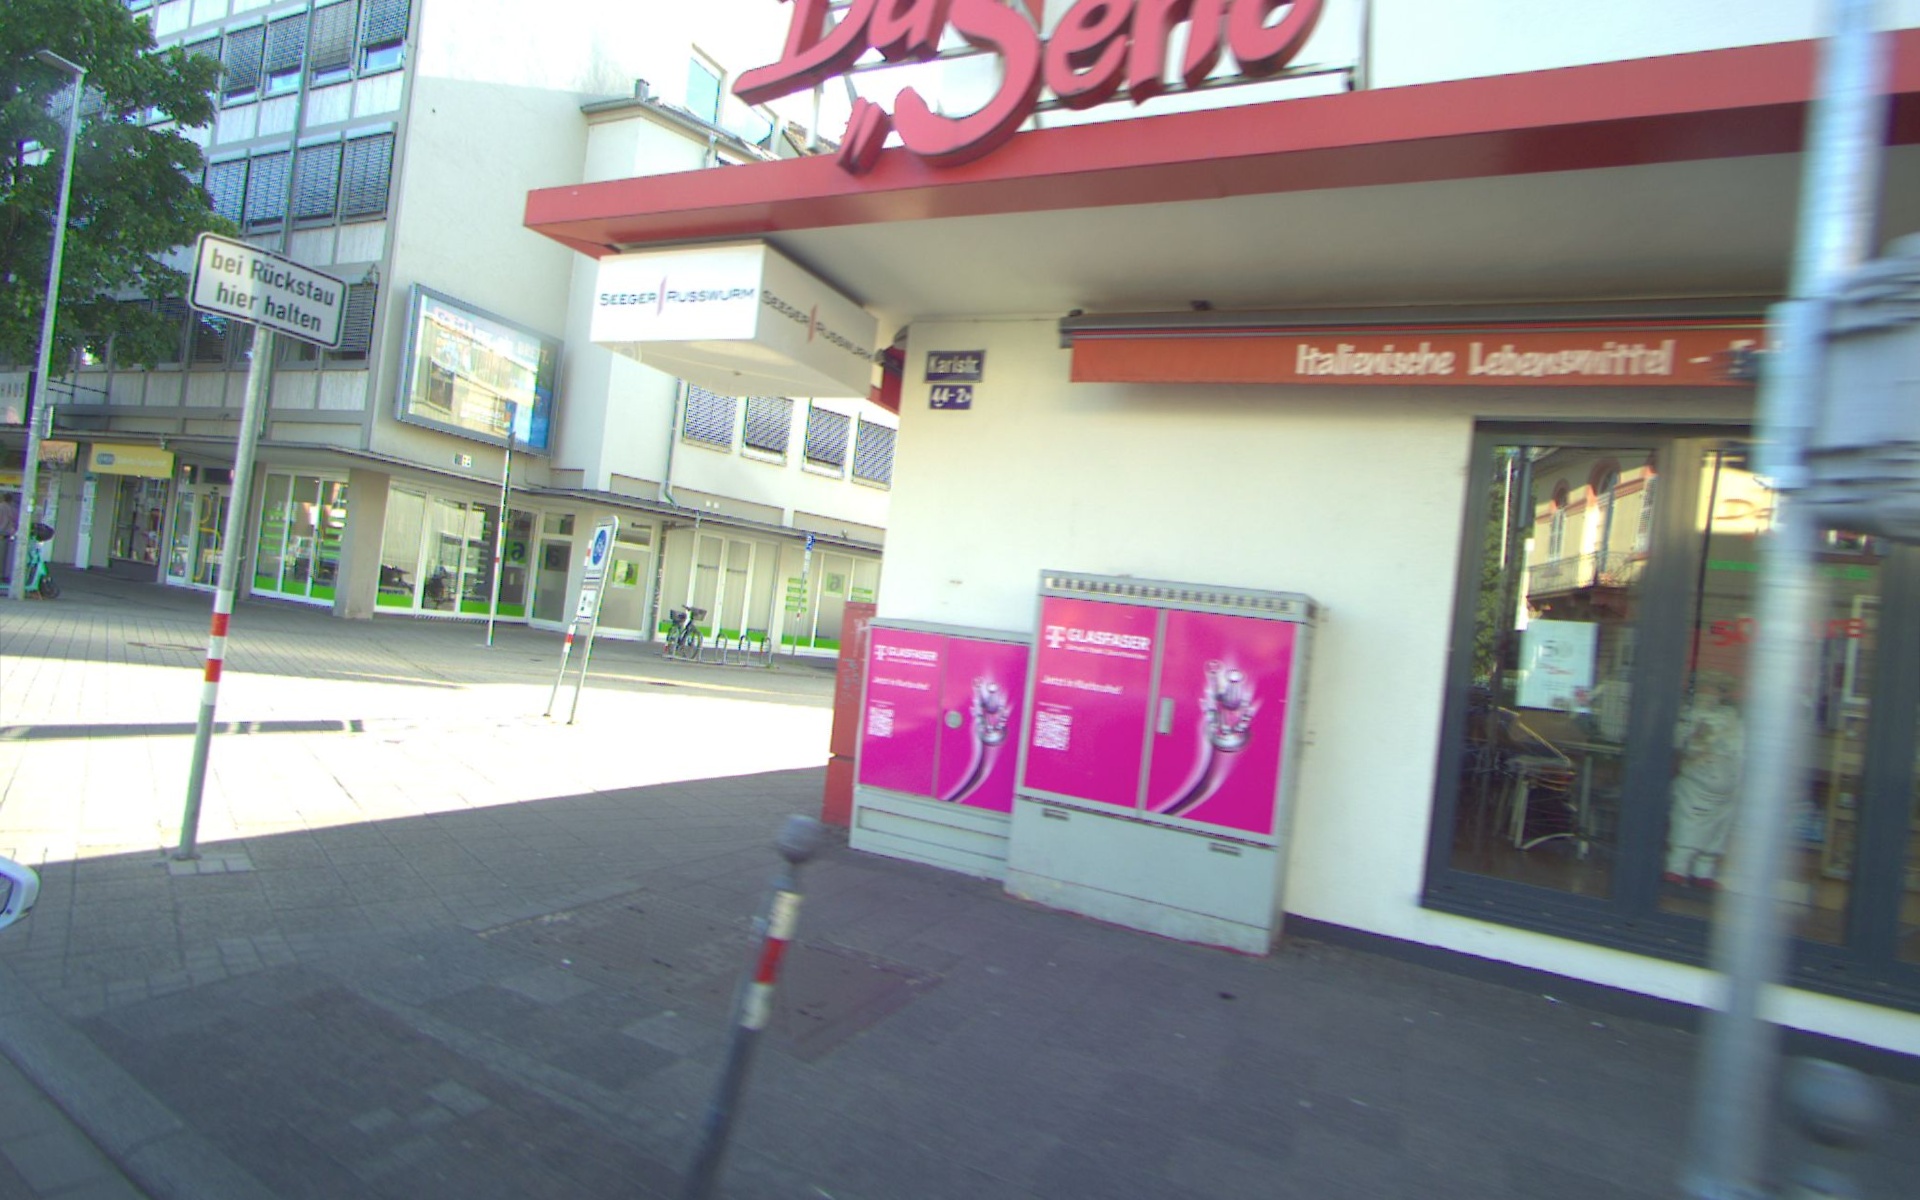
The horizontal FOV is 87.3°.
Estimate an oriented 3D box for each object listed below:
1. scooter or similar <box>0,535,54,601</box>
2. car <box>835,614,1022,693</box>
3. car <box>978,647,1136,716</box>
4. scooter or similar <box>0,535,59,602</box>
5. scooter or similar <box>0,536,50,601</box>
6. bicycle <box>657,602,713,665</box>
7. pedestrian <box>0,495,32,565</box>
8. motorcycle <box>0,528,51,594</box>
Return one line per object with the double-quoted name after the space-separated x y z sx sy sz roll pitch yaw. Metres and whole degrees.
-16.132 -0.549 17.135 0.157 1.051 0.958 7 -1 31 "scooter or similar"
-0.777 1.466 26.947 4.796 1.450 1.860 9 1 -41 "car"
3.004 2.492 30.382 4.796 1.450 1.860 9 1 -41 "car"
-15.964 -0.544 17.035 0.157 1.056 0.965 7 -1 31 "scooter or similar"
-16.302 -0.556 17.236 0.157 1.039 0.965 7 -1 31 "scooter or similar"
-6.159 0.742 22.509 0.440 1.174 1.483 8 2 -42 "bicycle"
-23.577 -1.758 24.661 0.865 1.621 0.845 6 -1 28 "pedestrian"
-17.880 -0.779 18.336 0.495 1.142 1.792 6 -2 26 "motorcycle"
